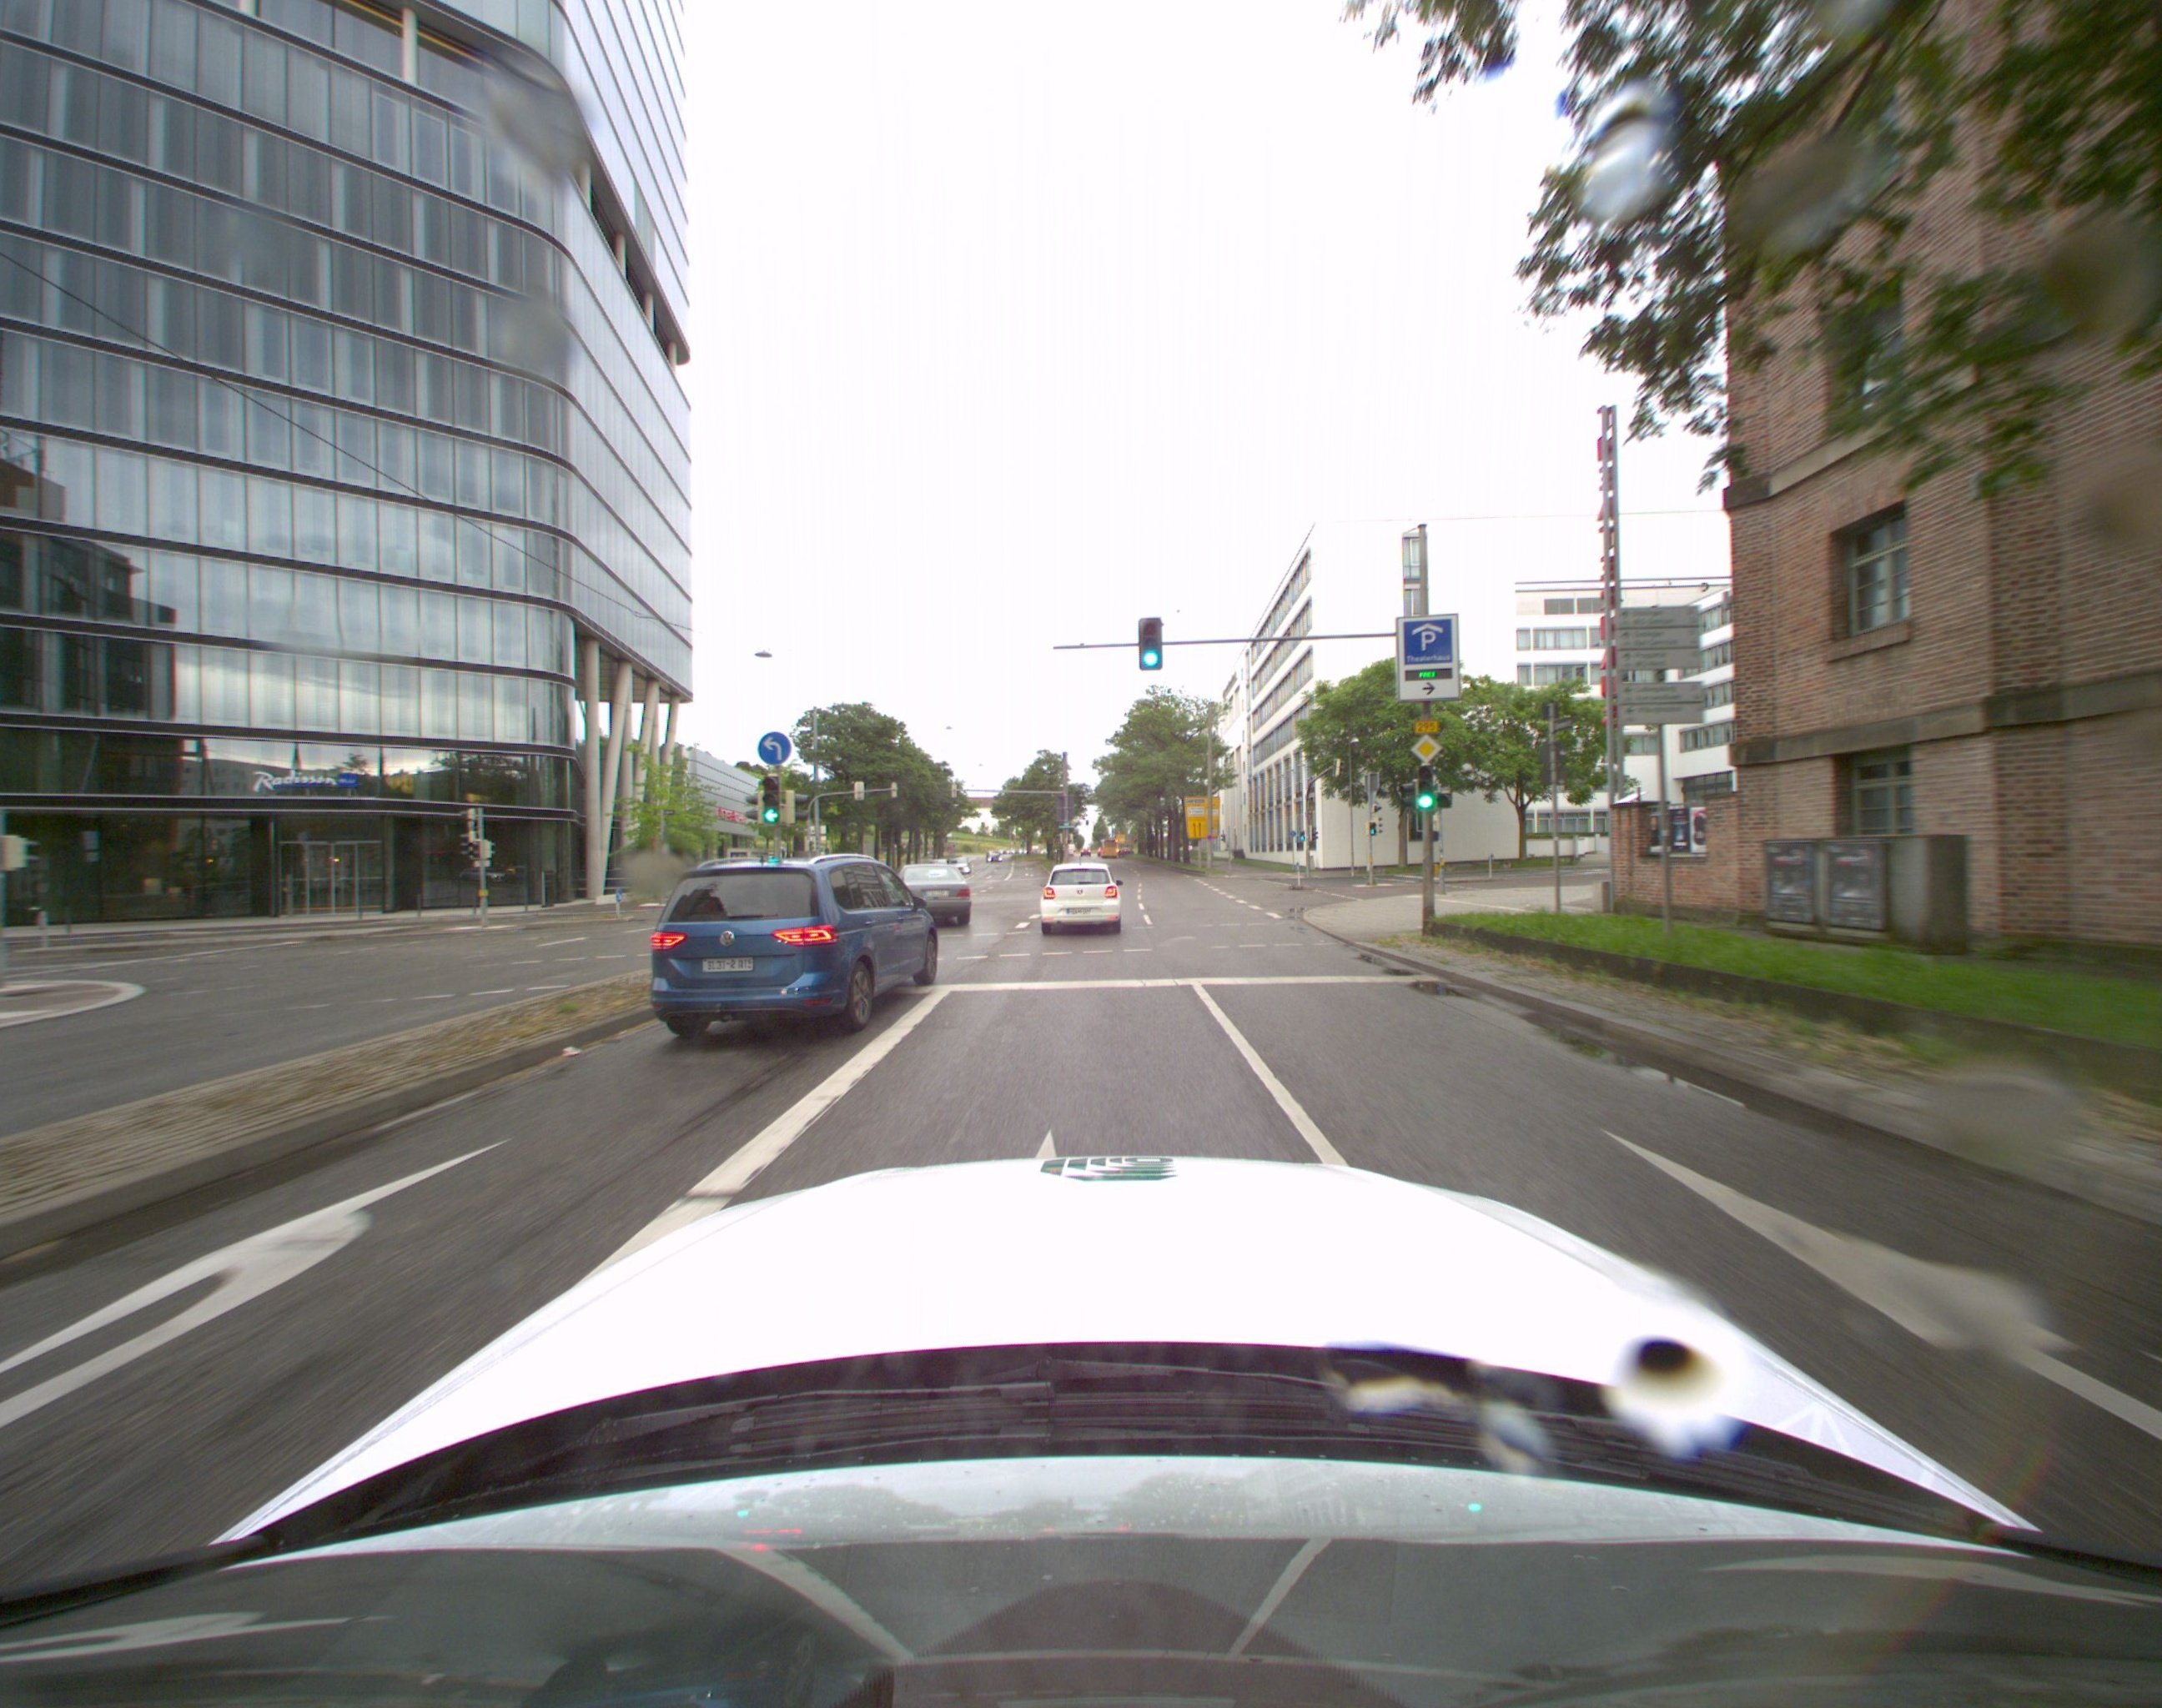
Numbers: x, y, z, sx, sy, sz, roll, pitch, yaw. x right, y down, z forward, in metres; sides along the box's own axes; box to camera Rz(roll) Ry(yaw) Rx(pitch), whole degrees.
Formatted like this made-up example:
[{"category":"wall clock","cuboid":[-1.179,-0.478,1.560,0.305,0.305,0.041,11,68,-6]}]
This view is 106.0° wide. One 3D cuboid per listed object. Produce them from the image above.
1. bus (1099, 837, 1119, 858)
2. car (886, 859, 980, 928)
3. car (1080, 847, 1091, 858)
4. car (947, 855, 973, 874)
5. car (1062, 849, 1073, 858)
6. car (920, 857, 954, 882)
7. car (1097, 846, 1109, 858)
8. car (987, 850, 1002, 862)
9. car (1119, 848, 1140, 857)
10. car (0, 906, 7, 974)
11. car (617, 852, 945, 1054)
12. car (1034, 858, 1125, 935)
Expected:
[{"category":"bus","cuboid":[4.617,-1.132,135.334,2.819,3.266,9.998,-1,1,0]},{"category":"car","cuboid":[-3.846,0.933,20.699,1.851,1.510,4.024,-2,0,-17]},{"category":"car","cuboid":[0.759,-0.286,147.672,1.987,2.014,3.999,-1,0,-1]},{"category":"car","cuboid":[-10.515,0.894,71.060,1.810,1.411,4.650,-3,1,-3]},{"category":"car","cuboid":[-2.490,-0.074,149.319,1.789,1.741,3.998,-1,0,-1]},{"category":"car","cuboid":[-9.756,1.007,55.393,1.746,1.520,3.812,-2,0,-3]},{"category":"car","cuboid":[3.940,-0.325,148.908,1.987,2.014,3.999,-1,0,-1]},{"category":"car","cuboid":[-12.727,0.320,119.857,1.990,1.615,5.113,-3,1,-4]},{"category":"car","cuboid":[8.743,-0.221,147.506,1.679,1.515,3.850,-2,-1,44]},{"category":"car","cuboid":[-25.904,2.017,16.661,4.373,1.510,1.844,-3,1,-20]},{"category":"car","cuboid":[-2.804,0.820,8.739,1.765,1.596,4.200,-2,0,2]},{"category":"car","cuboid":[-0.007,0.856,18.183,1.788,1.502,4.000,-1,0,1]}]
